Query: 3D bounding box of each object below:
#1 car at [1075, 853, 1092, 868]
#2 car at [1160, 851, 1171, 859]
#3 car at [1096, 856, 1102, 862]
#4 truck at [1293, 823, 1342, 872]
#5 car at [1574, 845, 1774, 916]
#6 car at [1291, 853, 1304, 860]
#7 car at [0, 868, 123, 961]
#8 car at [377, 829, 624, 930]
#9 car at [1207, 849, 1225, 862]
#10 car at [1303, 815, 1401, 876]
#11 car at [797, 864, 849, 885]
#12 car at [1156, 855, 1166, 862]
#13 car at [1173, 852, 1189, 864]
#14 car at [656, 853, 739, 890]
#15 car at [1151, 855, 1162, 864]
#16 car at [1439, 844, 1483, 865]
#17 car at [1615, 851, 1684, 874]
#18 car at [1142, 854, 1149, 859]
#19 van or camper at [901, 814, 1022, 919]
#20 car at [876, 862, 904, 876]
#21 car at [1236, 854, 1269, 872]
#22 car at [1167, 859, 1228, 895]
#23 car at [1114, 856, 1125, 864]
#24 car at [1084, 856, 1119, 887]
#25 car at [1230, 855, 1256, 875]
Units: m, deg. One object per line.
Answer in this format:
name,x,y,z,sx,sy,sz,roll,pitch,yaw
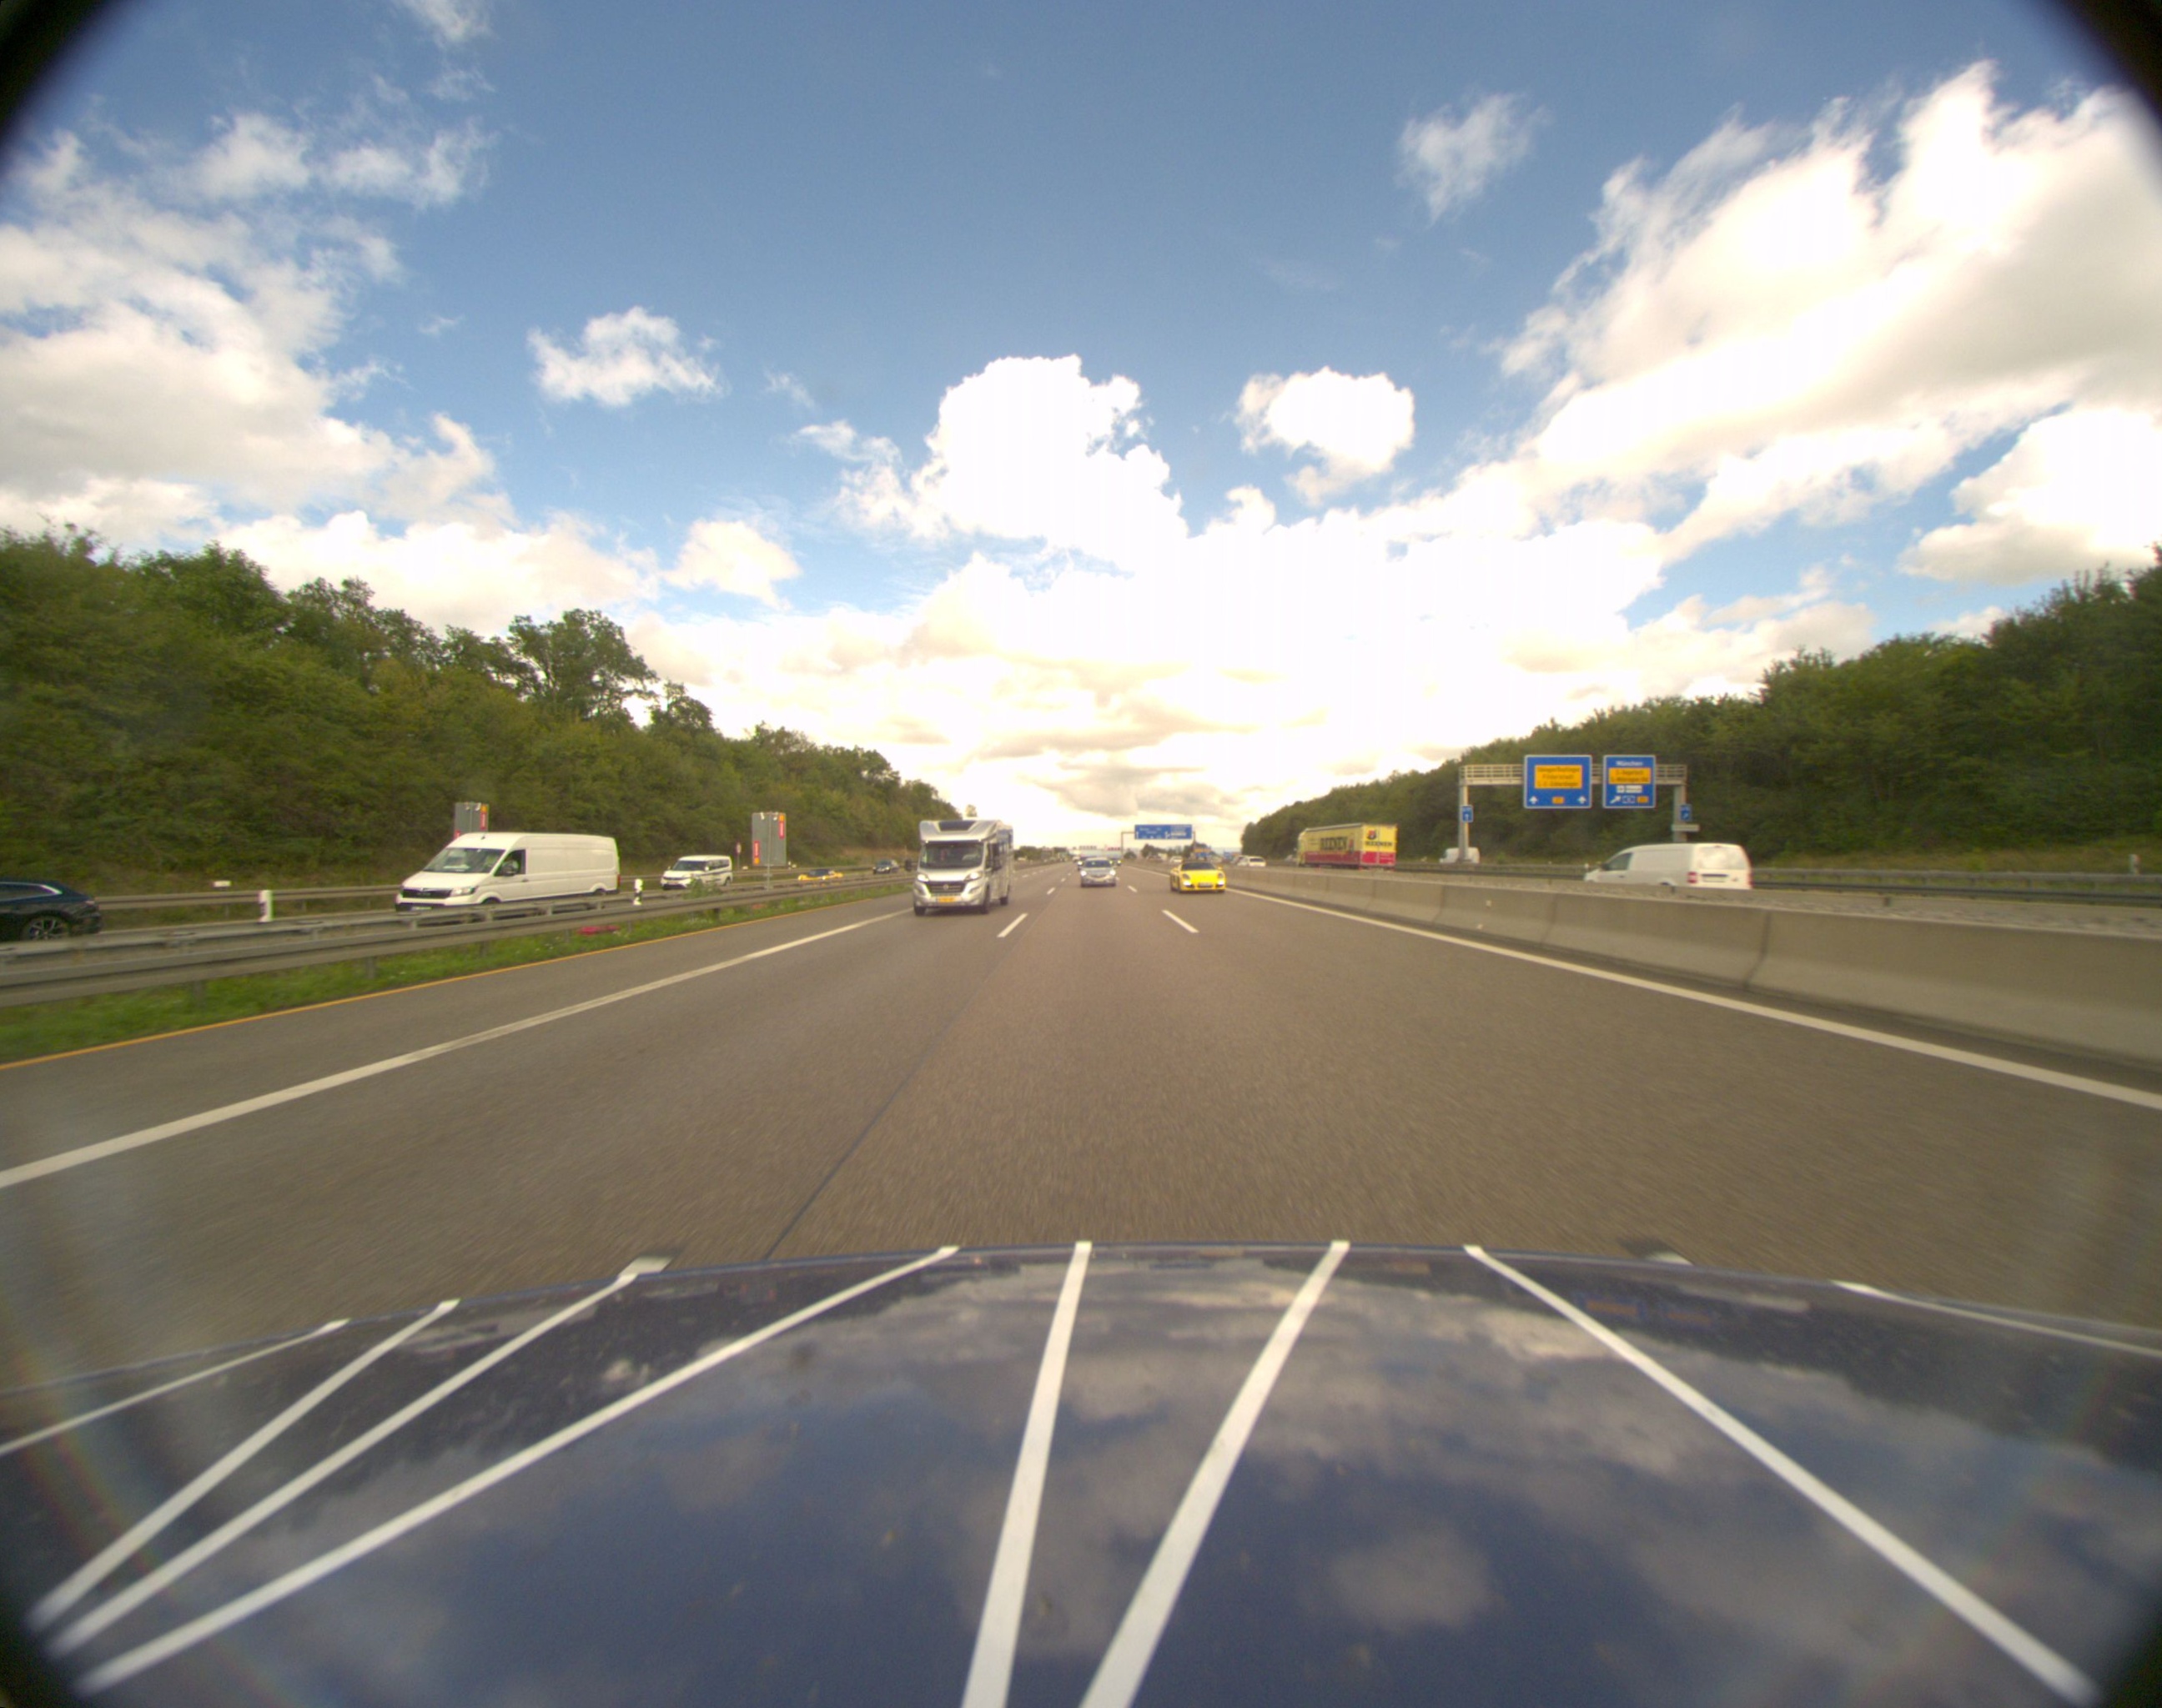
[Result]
car,0.347,0.753,88.311,1.876,1.626,4.859,-1,0,1
car,23.431,0.274,210.329,2.169,2.258,6.460,-1,0,0
car,5.821,1.500,247.625,1.998,1.846,4.286,-1,0,1
truck,21.408,-0.567,69.171,2.904,4.298,5.161,0,0,1
car,16.722,0.667,21.857,1.738,1.784,5.124,-1,0,0
car,40.371,0.461,141.834,1.469,1.418,3.760,0,0,0
car,-19.974,1.079,12.728,1.848,1.593,4.764,1,0,0
car,-16.590,0.651,22.449,2.075,2.539,6.743,0,0,0
car,17.916,0.183,101.165,1.598,1.601,4.463,-1,0,0
car,21.360,-0.597,61.063,2.913,4.300,14.145,0,0,0
car,-15.757,1.232,46.638,1.716,1.175,4.169,-2,0,0
car,19.253,1.032,182.801,1.778,1.552,4.781,-1,0,0
car,14.247,0.558,108.163,1.780,1.563,4.180,-2,0,1
car,-19.898,0.862,39.682,1.848,1.741,4.764,-2,0,1
car,15.272,1.090,154.514,1.776,1.601,4.465,-1,0,0
car,42.074,0.095,84.299,1.998,2.221,5.891,0,0,2
car,42.020,0.604,56.312,1.851,1.652,4.419,0,0,1
car,19.177,0.654,225.982,1.741,1.502,4.051,-1,0,0
van or camper,-3.490,0.331,24.105,2.475,2.706,7.661,-2,0,0
car,-19.407,1.498,77.400,1.716,1.407,4.169,-1,0,1
car,13.768,0.701,61.209,1.670,1.393,4.534,0,0,1
car,4.642,0.895,30.788,1.811,1.307,4.247,1,0,0
car,6.051,0.923,120.665,1.593,1.307,3.978,1,0,0
car,1.013,0.851,39.675,1.687,1.476,4.616,-1,0,0
car,17.573,1.146,82.560,1.757,2.002,4.553,-2,0,1
